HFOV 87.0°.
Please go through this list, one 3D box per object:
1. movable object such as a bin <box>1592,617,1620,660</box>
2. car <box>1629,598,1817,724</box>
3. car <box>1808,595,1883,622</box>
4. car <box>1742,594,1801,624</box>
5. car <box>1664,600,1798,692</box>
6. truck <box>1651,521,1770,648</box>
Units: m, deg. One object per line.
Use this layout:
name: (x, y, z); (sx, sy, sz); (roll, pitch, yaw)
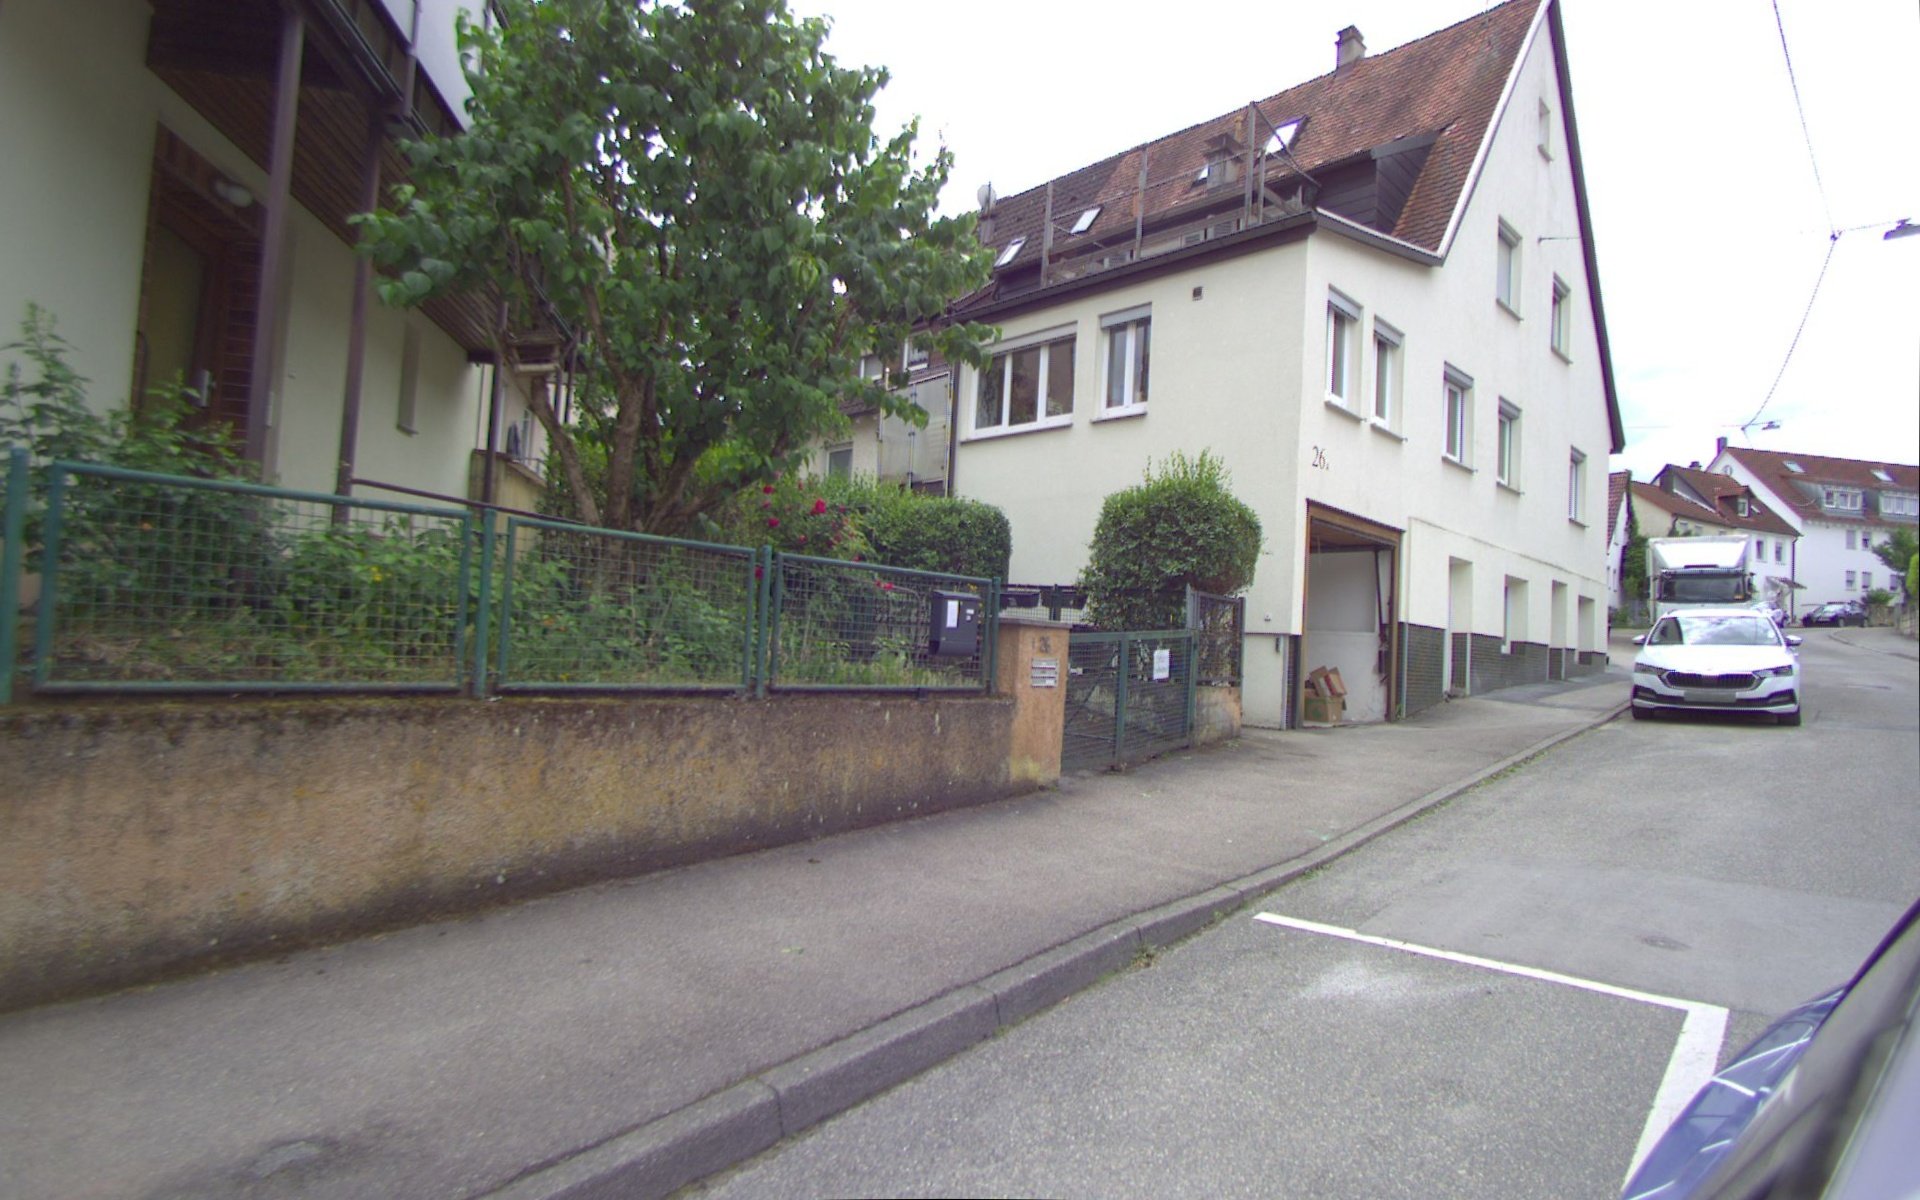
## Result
movable object such as a bin: (14.768, 0.873, 23.133); (0.463, 0.928, 0.535); (4, 3, 37)
car: (10.628, 0.734, 14.064); (1.791, 1.464, 4.237); (-2, -1, 39)
car: (51.365, 0.516, 58.695); (3.919, 1.425, 1.726); (1, -4, -24)
car: (44.319, 0.499, 55.247); (2.841, 1.553, 1.616); (0, -4, -33)
car: (13.623, 0.741, 17.970); (1.669, 1.427, 3.997); (-3, -1, 37)
truck: (24.314, -0.460, 33.120); (2.666, 3.642, 8.007); (1, 0, 34)
